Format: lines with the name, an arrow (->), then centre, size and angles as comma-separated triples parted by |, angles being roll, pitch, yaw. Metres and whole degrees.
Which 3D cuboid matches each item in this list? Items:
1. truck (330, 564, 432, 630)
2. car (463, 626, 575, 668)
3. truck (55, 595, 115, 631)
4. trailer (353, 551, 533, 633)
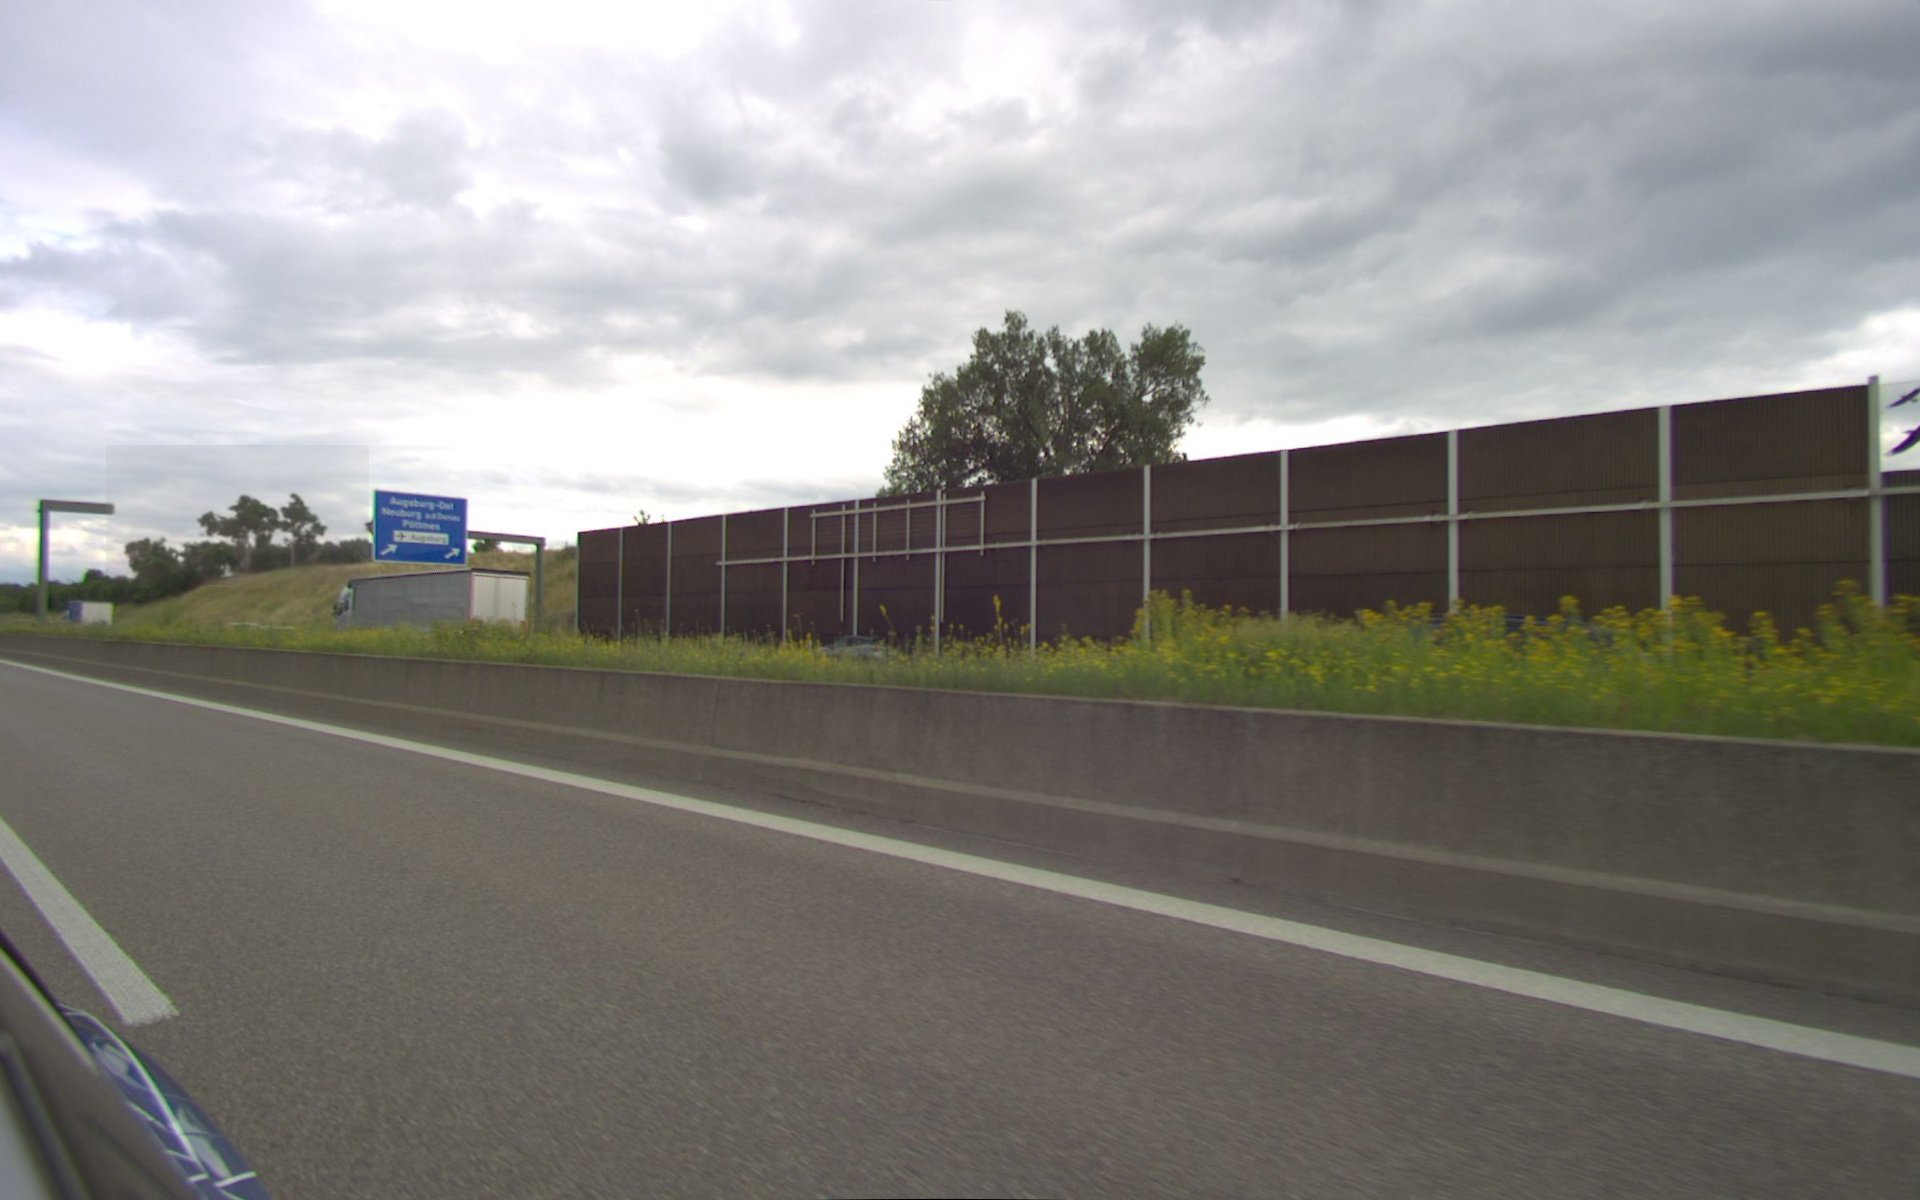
truck -> -30.038, -0.072, 52.417 | 5.978, 3.252, 2.795 | -1, -2, 41
car -> -14.361, 1.496, 32.882 | 3.996, 1.267, 1.688 | -2, -2, 39
truck -> -92.708, 1.429, 107.105 | 10.929, 3.630, 3.225 | -1, -2, 41
trailer -> -24.643, -0.189, 47.643 | 13.503, 3.402, 2.790 | -1, -2, 41
